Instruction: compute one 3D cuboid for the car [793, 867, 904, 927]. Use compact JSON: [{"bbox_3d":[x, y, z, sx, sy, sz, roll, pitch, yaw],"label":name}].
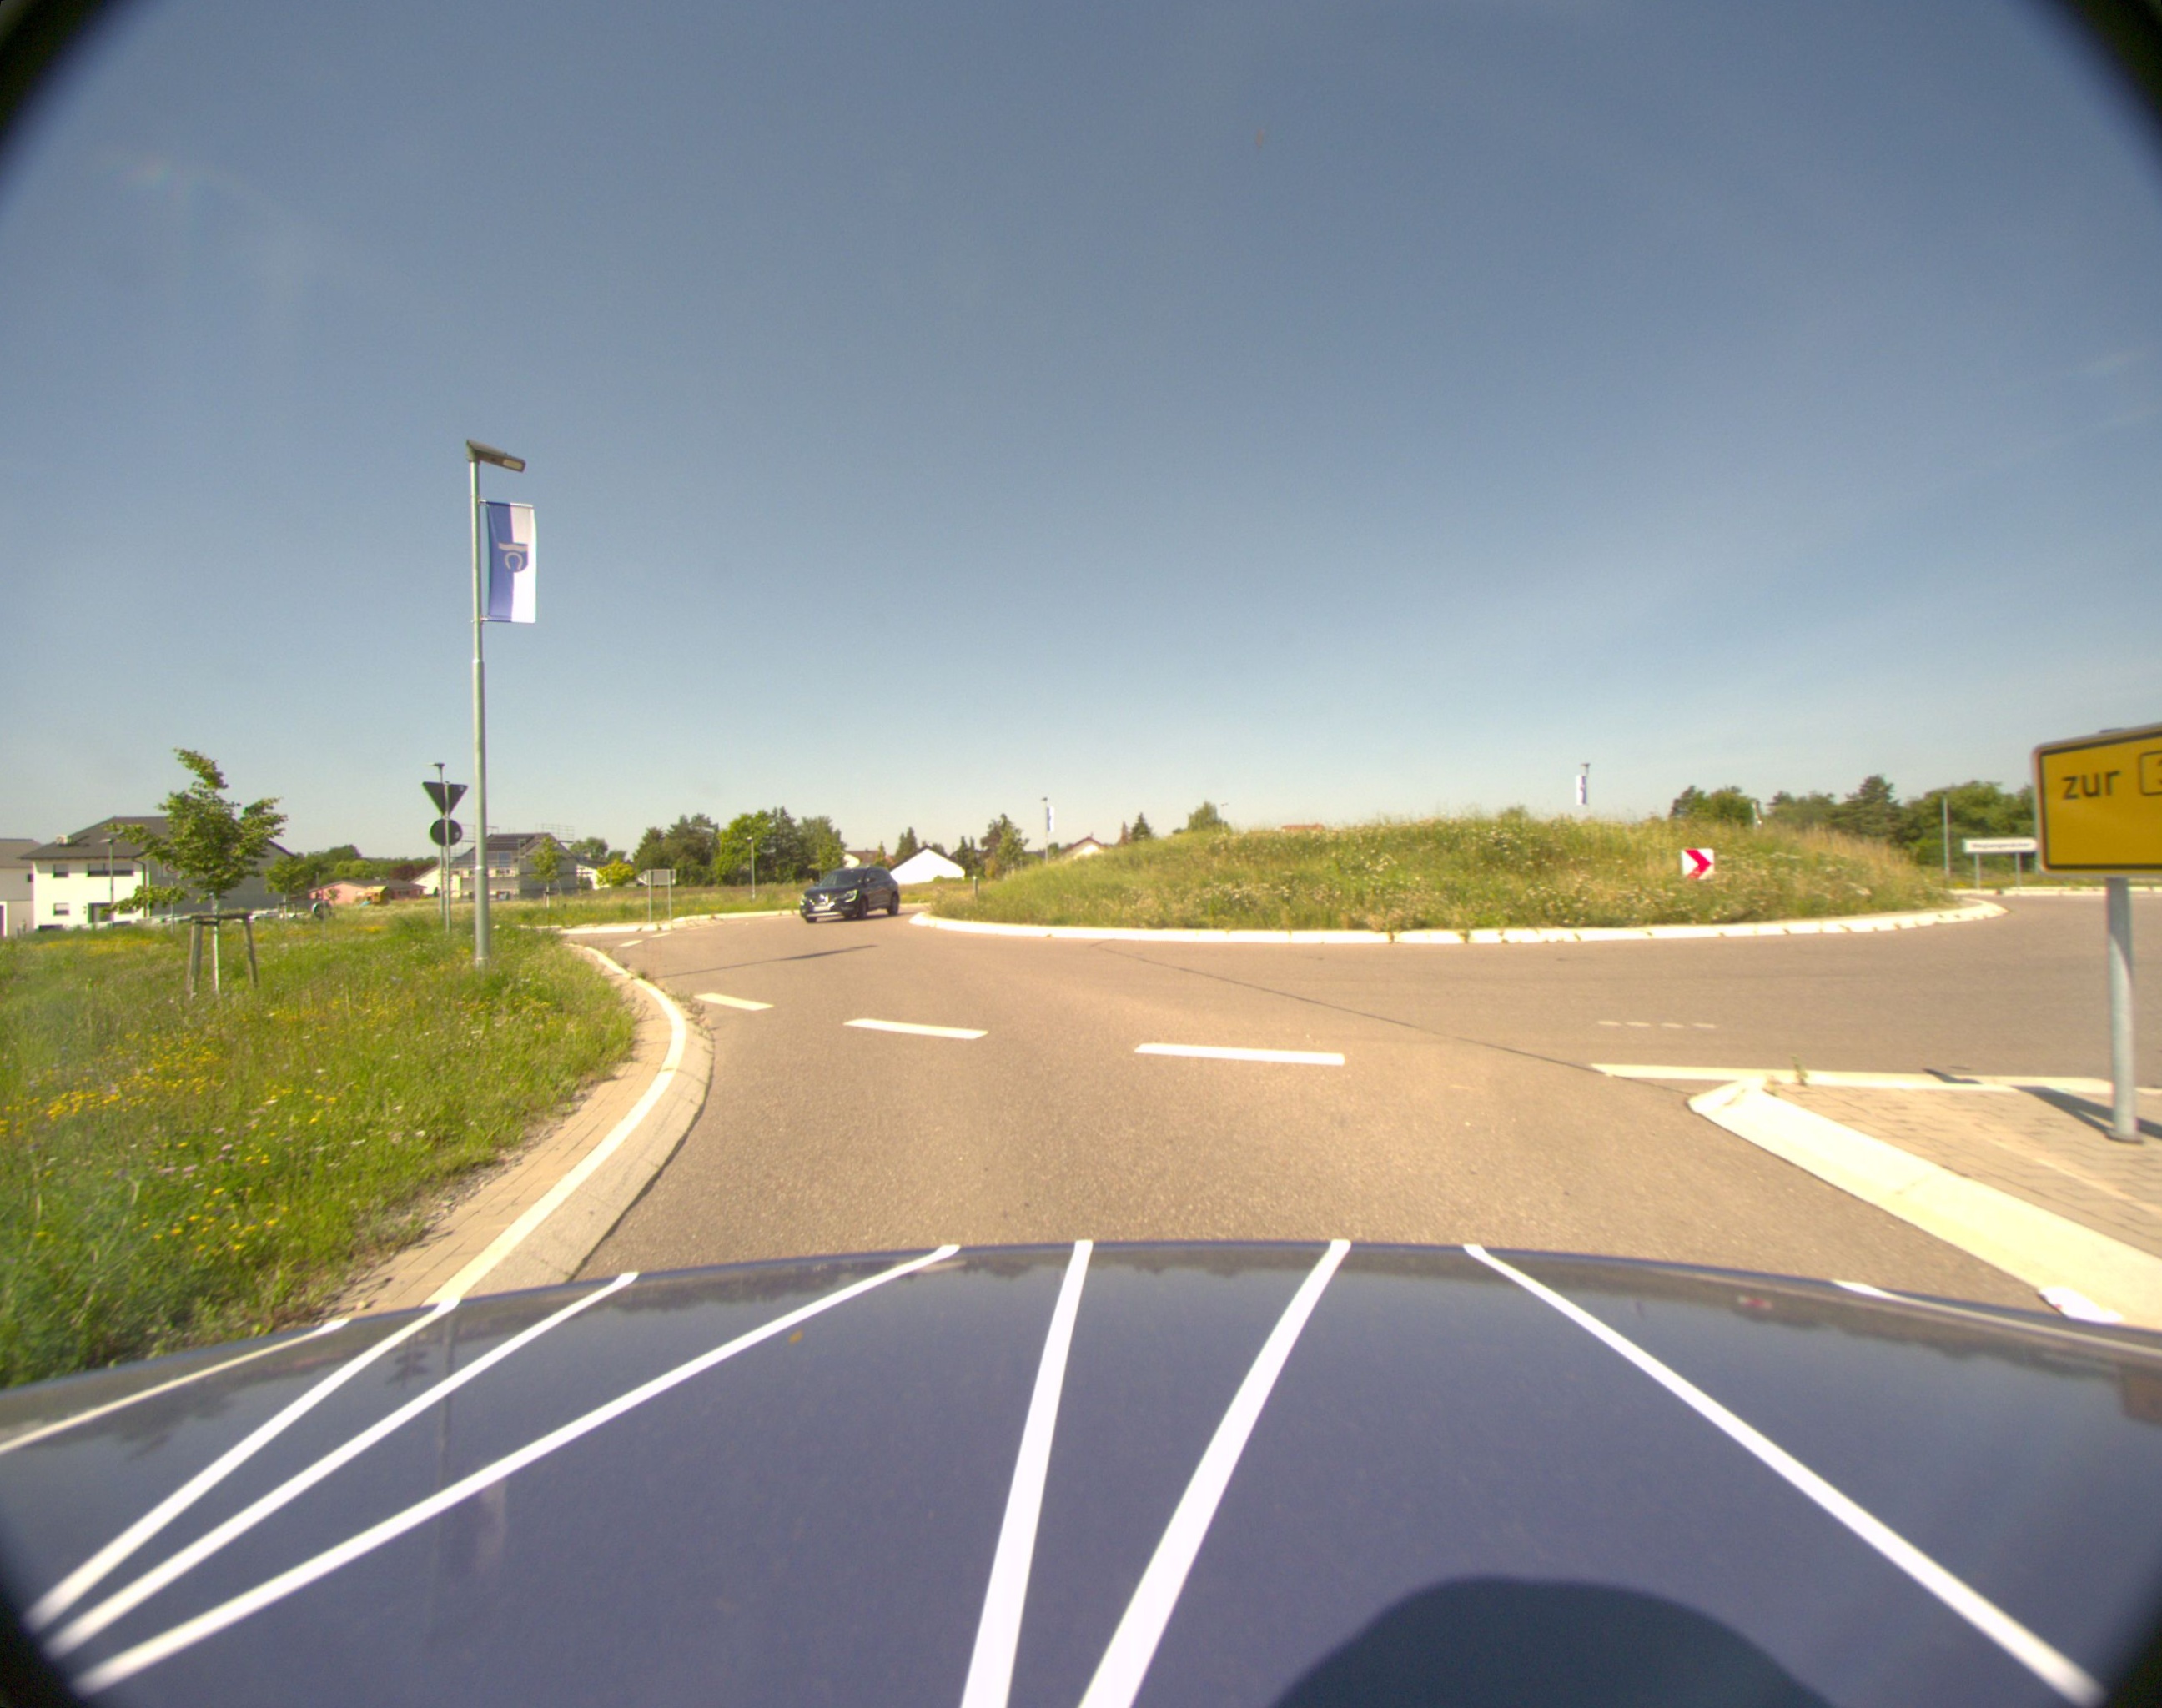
[{"bbox_3d":[-7.239,1.281,24.114,1.779,1.632,4.142,-3,-1,6],"label":"car"}]
